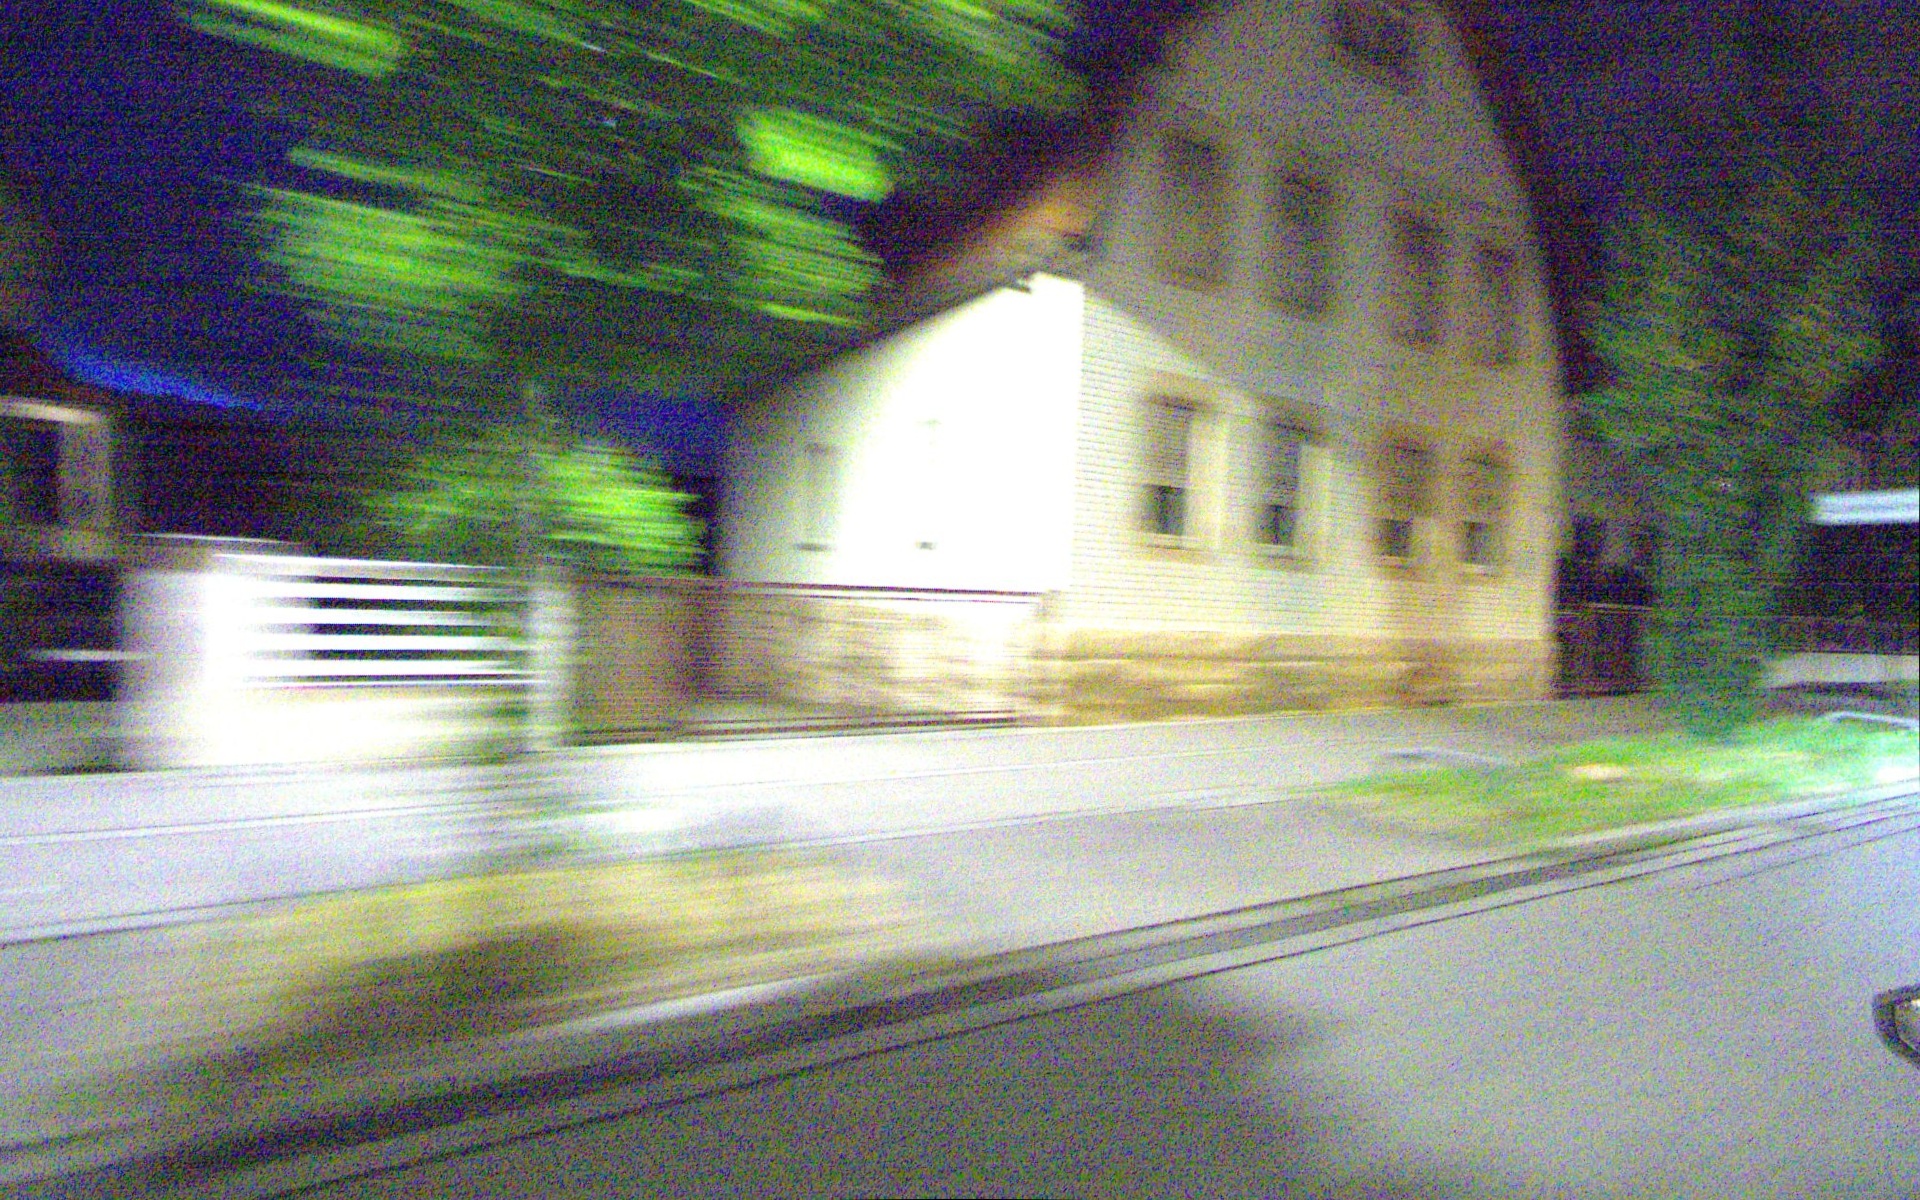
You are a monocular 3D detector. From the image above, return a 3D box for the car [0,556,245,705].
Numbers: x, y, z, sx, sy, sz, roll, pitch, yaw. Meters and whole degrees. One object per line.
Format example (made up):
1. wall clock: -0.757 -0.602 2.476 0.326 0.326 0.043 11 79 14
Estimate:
1. car: -9.385 0.304 11.453 1.562 1.398 3.901 1 -1 -29
